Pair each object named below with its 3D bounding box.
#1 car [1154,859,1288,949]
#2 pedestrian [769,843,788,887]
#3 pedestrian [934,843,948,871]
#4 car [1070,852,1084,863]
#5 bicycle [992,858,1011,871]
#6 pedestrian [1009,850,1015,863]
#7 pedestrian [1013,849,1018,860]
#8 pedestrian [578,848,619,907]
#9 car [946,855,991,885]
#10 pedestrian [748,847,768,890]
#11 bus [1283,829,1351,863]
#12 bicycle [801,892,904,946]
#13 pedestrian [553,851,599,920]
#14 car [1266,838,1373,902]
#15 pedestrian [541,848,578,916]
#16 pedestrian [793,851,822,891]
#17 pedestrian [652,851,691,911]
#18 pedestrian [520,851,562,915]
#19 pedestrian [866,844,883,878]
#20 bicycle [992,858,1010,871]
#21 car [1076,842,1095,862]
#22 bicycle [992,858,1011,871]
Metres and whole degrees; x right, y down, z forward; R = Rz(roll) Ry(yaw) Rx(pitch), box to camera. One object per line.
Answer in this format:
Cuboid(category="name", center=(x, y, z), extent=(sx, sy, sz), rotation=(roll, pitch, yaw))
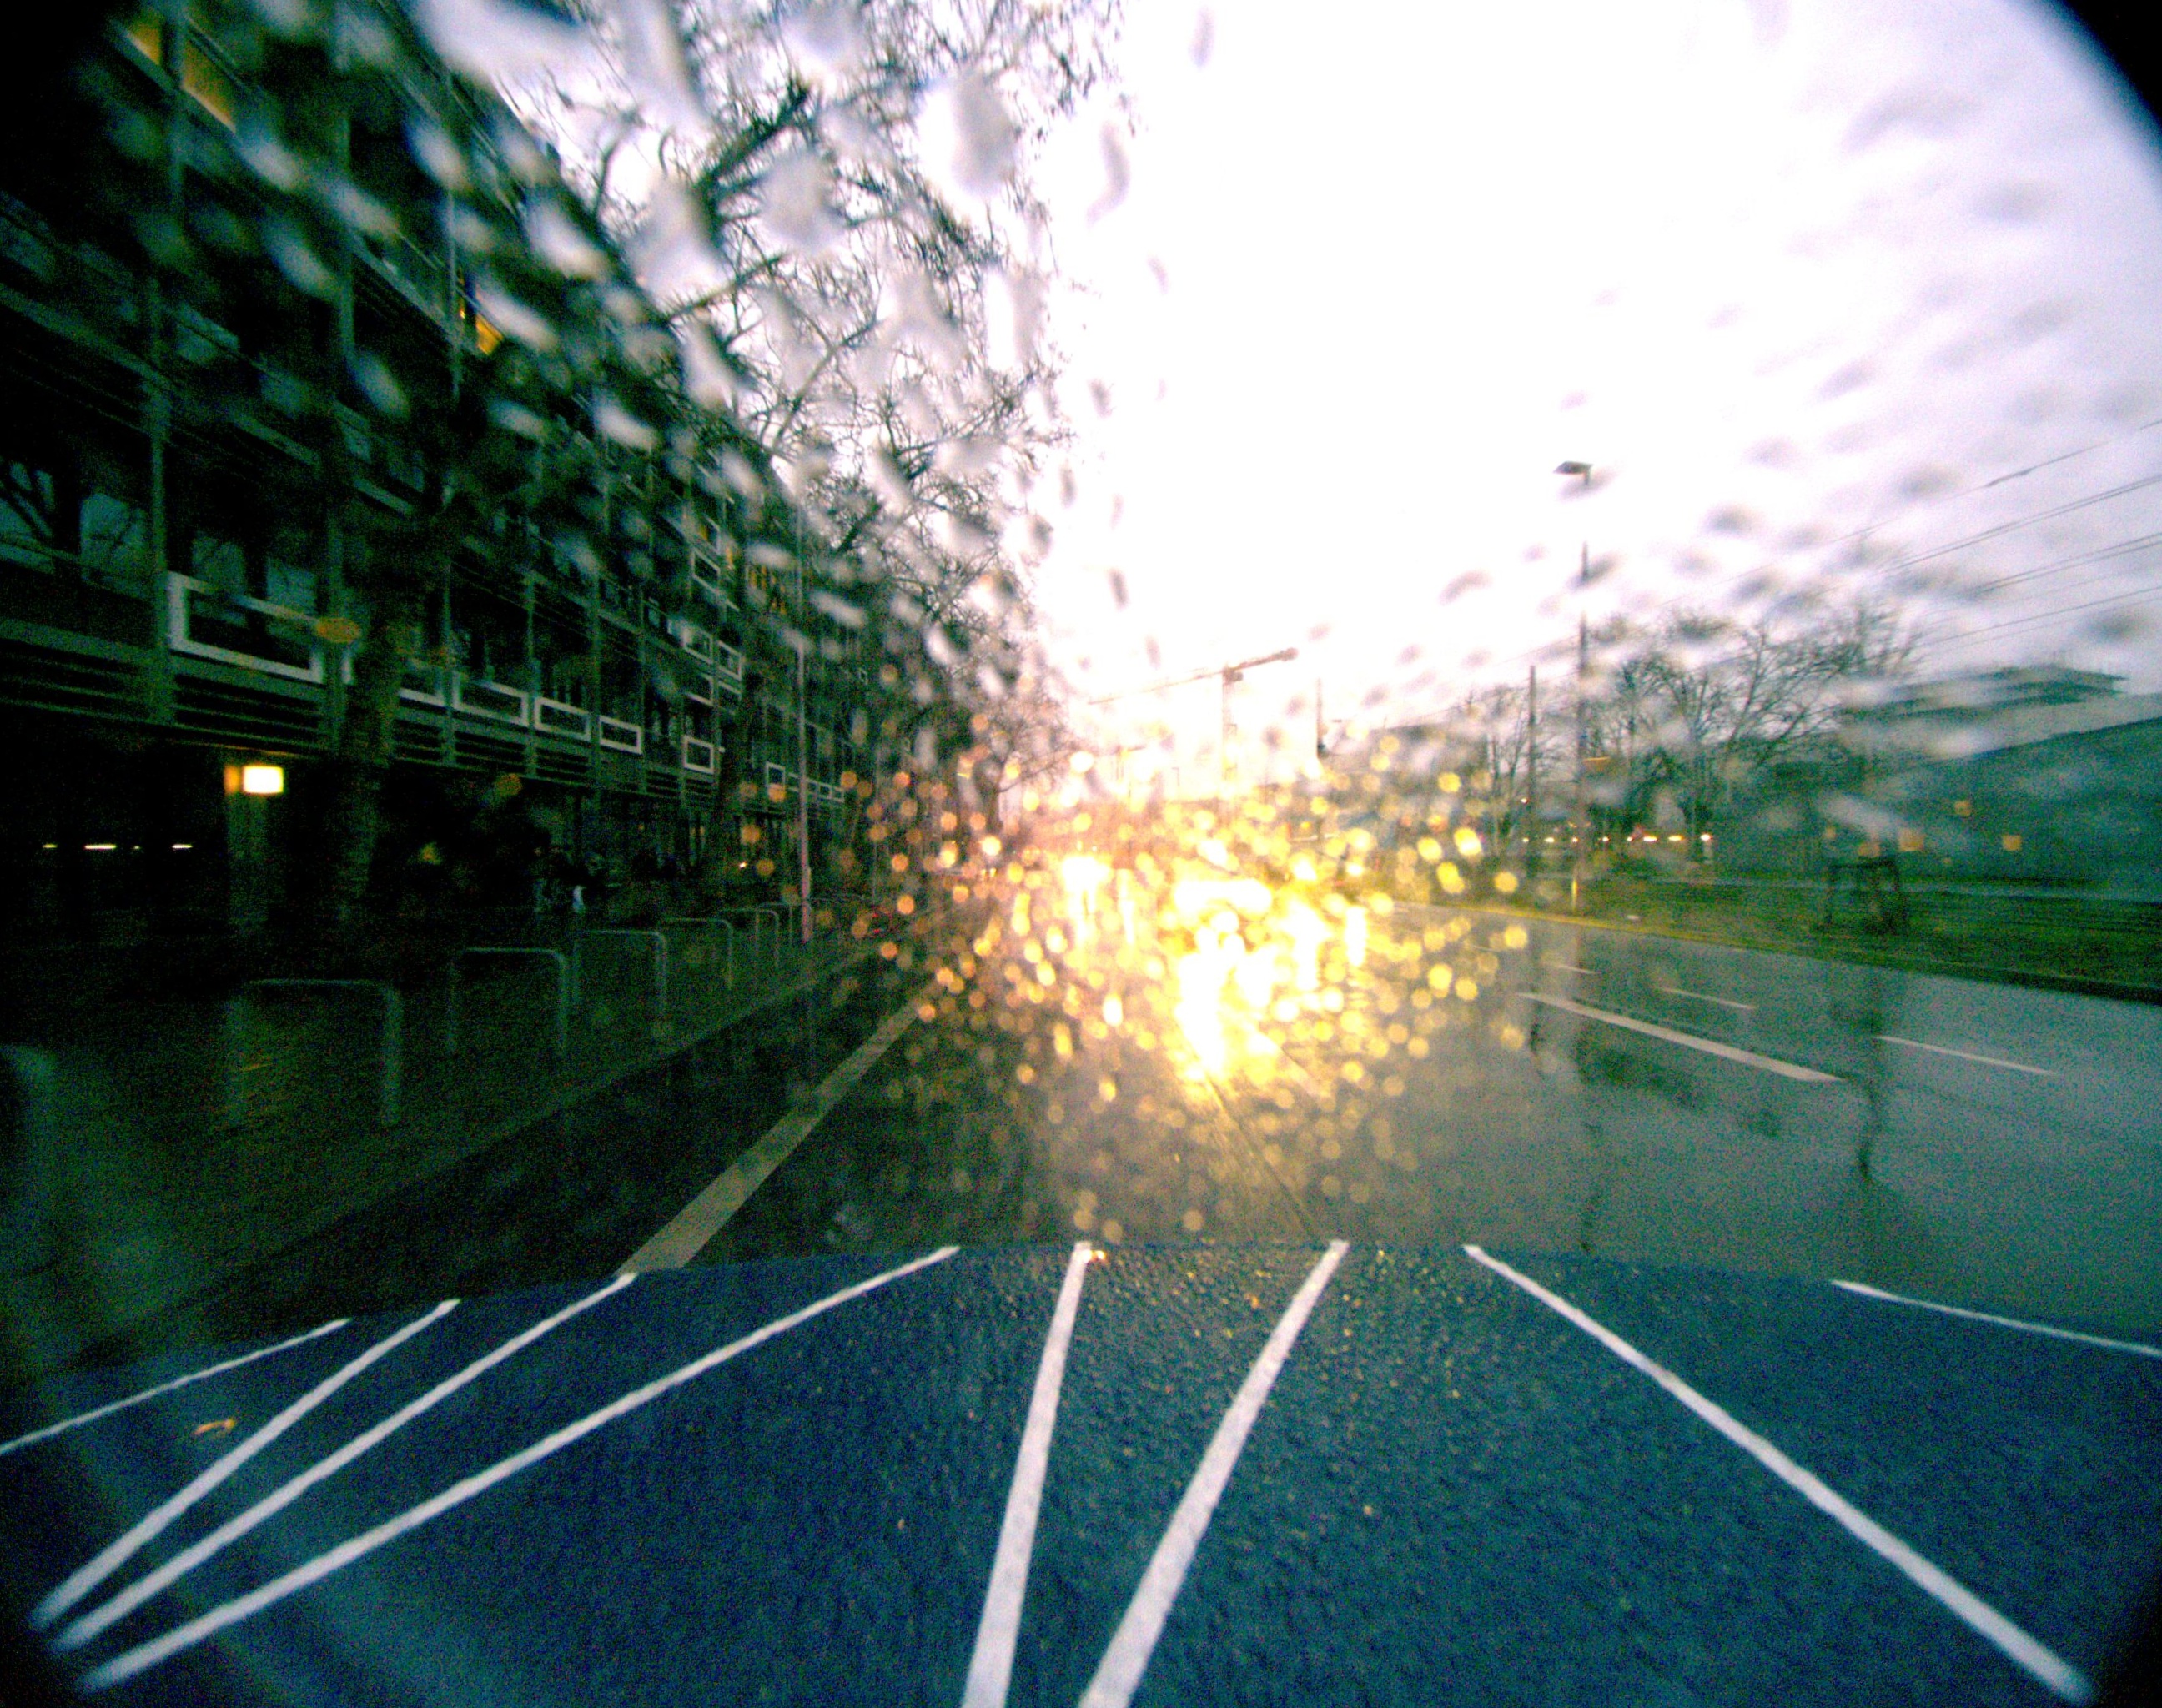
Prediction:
Cuboid(category="car", center=(2.576, 0.861, 14.975), extent=(1.778, 1.466, 4.128), rotation=(0, 0, -2))
Cuboid(category="pedestrian", center=(-11.960, 0.434, 30.046), extent=(0.661, 1.708, 0.841), rotation=(-1, 1, -19))
Cuboid(category="pedestrian", center=(-10.270, 0.202, 55.703), extent=(0.791, 2.002, 1.024), rotation=(0, 1, 0))
Cuboid(category="car", center=(-0.526, 0.562, 110.113), extent=(1.858, 1.591, 4.001), rotation=(-1, -1, 1))
Cuboid(category="bicycle", center=(-6.710, 0.899, 63.877), extent=(1.523, 1.030, 0.469), rotation=(-2, 1, -7))
Cuboid(category="pedestrian", center=(-10.800, 0.414, 118.382), extent=(0.838, 2.002, 0.771), rotation=(-2, 1, 0))
Cuboid(category="pedestrian", center=(-12.148, 0.101, 140.267), extent=(0.838, 2.002, 0.771), rotation=(-2, 1, 0))
Cuboid(category="pedestrian", center=(-13.566, 0.651, 21.398), extent=(0.617, 1.647, 0.780), rotation=(0, 1, 1))
Cuboid(category="car", center=(-5.907, 0.795, 40.414), extent=(1.608, 1.424, 3.930), rotation=(2, 1, 3))
Cuboid(category="pedestrian", center=(-12.599, 0.559, 29.650), extent=(0.642, 1.645, 0.841), rotation=(-1, 1, -18))
Cuboid(category="bus", center=(26.647, -0.916, 86.648), extent=(2.815, 3.557, 12.299), rotation=(0, 0, -5))
Cuboid(category="bicycle", center=(-4.368, 1.248, 14.633), extent=(1.792, 0.968, 0.617), rotation=(1, 1, -4))
Cuboid(category="pedestrian", center=(-12.396, 0.756, 18.667), extent=(0.501, 1.658, 0.873), rotation=(0, 1, 1))
Cuboid(category="car", center=(7.089, 0.422, 23.053), extent=(1.707, 1.733, 4.611), rotation=(0, 0, -1))
Cuboid(category="pedestrian", center=(-12.883, 0.683, 18.770), extent=(0.379, 1.658, 0.713), rotation=(0, 1, 1))
Cuboid(category="pedestrian", center=(-10.719, 0.653, 29.799), extent=(0.866, 1.515, 0.837), rotation=(0, 1, -5))
Cuboid(category="pedestrian", center=(-10.627, 0.695, 19.741), extent=(0.649, 1.535, 0.615), rotation=(0, 1, 2))
Cuboid(category="pedestrian", center=(-13.389, 0.706, 18.839), extent=(0.484, 1.555, 0.745), rotation=(0, 1, 0))
Cuboid(category="pedestrian", center=(-12.247, 0.385, 45.086), extent=(0.822, 2.002, 0.735), rotation=(0, 1, -1))
Cuboid(category="bicycle", center=(-6.982, 0.936, 66.668), extent=(1.523, 1.030, 0.469), rotation=(-2, 1, -7))
Cuboid(category="car", center=(0.494, -0.163, 79.213), extent=(1.858, 2.002, 4.000), rotation=(-1, 0, 1))
Cuboid(category="bicycle", center=(-6.839, 0.933, 65.278), extent=(1.523, 1.030, 0.469), rotation=(-2, 1, -7))
